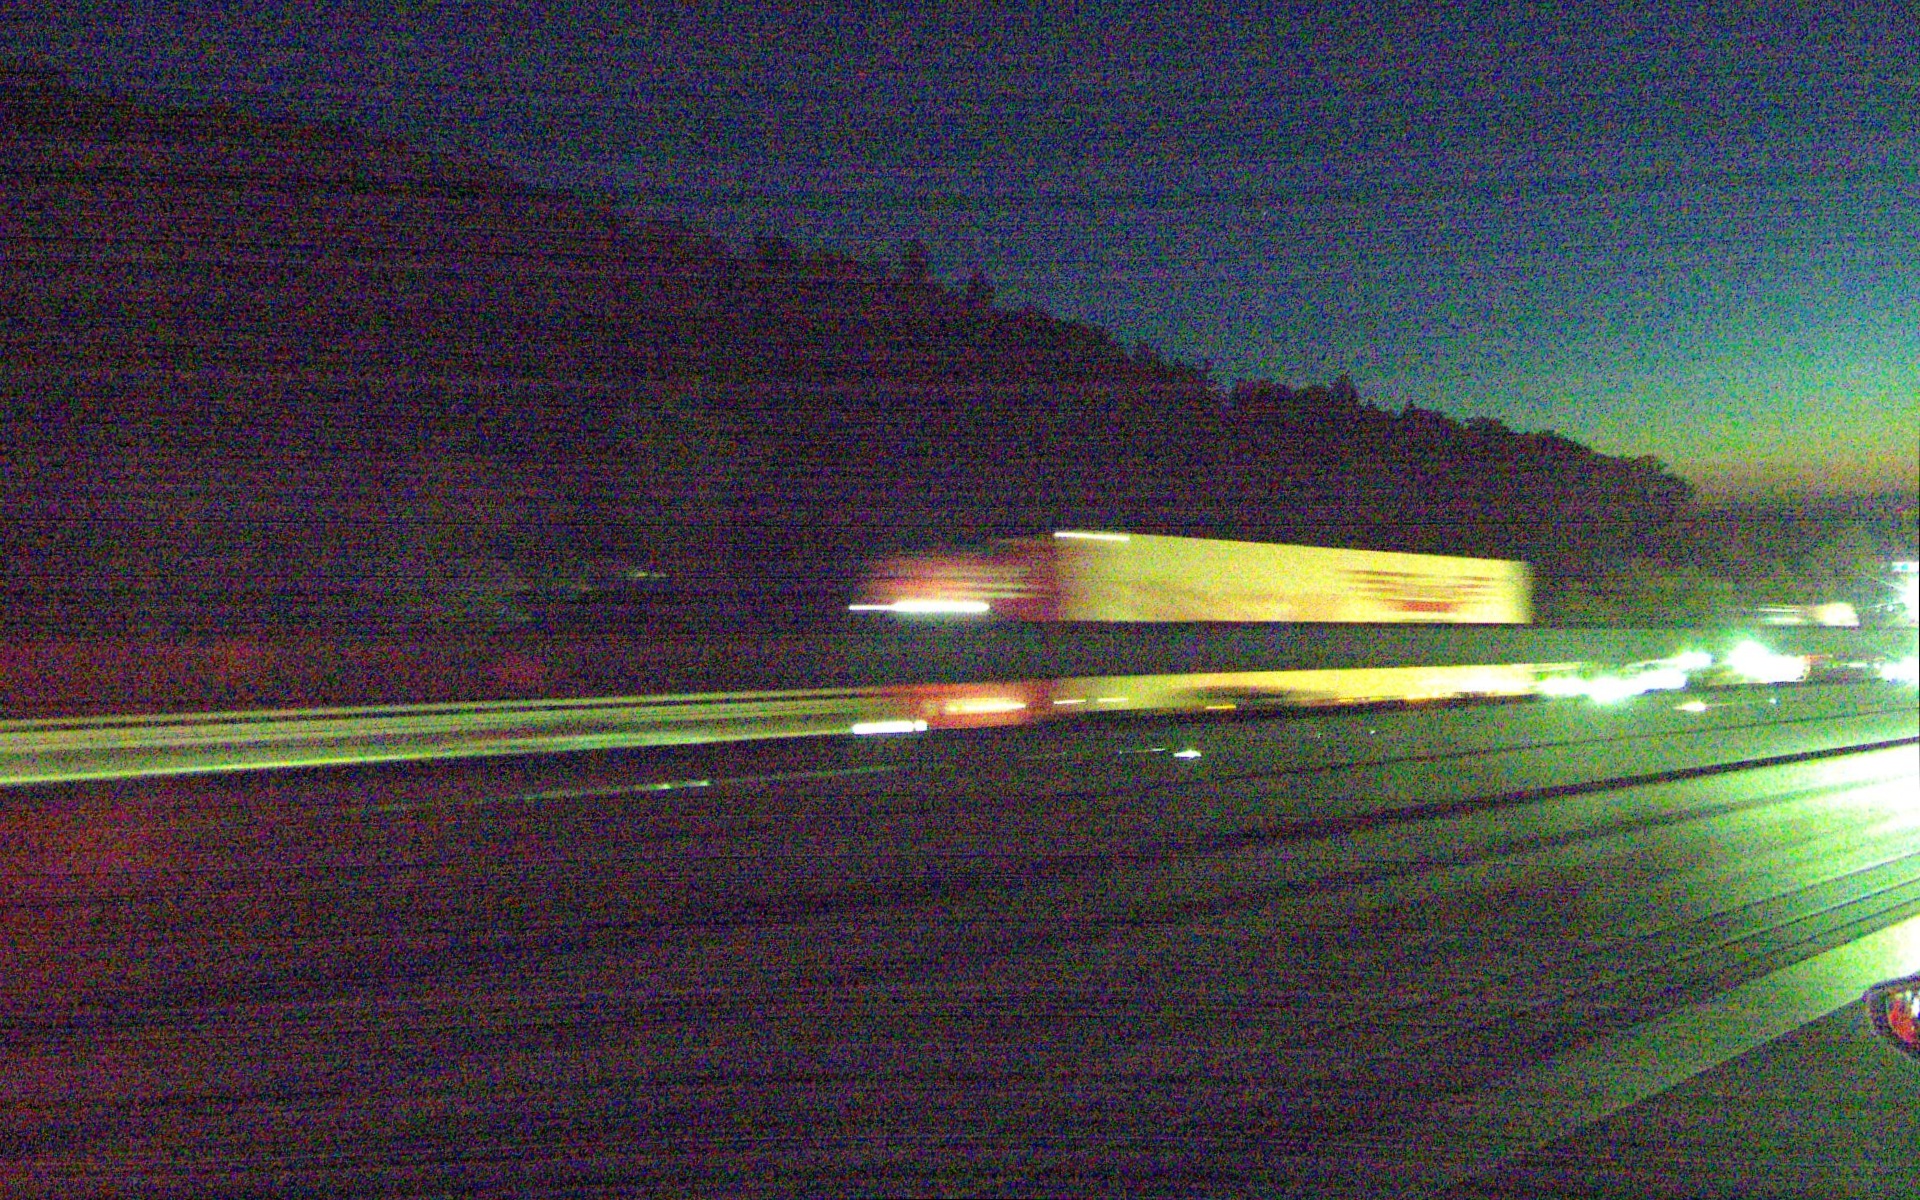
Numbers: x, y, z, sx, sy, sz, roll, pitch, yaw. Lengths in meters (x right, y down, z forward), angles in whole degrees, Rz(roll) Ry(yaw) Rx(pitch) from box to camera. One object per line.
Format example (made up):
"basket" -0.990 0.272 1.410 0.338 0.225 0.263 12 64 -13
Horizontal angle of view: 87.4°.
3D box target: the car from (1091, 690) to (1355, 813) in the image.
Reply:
"car" 4.140 2.236 15.565 4.210 1.461 1.591 1 -2 -33

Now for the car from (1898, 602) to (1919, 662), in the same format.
"car" 34.581 1.110 35.216 3.966 2.040 1.977 1 0 -39

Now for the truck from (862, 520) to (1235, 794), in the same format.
"truck" 1.686 0.987 18.832 6.213 4.278 3.400 1 -2 -32

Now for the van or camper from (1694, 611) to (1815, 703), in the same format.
"van or camper" 28.041 1.923 35.361 6.340 3.011 1.820 1 -1 -37

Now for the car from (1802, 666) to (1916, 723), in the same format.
"car" 26.521 2.735 29.609 4.096 1.461 1.591 1 -2 -35

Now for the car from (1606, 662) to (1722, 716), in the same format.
"car" 21.756 2.708 31.019 3.957 1.461 1.591 1 -2 -33

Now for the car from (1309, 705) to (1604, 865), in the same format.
"car" 6.324 2.197 12.668 3.958 1.461 1.591 1 -2 -34

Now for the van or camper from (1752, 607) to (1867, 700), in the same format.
"van or camper" 33.362 2.021 39.398 5.642 3.424 2.253 1 -1 -37

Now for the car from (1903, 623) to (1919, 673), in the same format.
"car" 49.202 2.375 50.427 5.396 2.402 1.820 1 -2 -37

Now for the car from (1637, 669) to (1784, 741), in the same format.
"car" 18.073 2.459 24.139 3.957 1.461 1.591 1 -2 -33

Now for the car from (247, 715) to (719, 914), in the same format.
"car" -4.961 2.124 10.830 4.337 1.461 1.591 1 -2 -33

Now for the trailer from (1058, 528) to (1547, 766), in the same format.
"trailer" 8.309 1.001 23.028 12.689 4.296 3.418 1 -2 -32
